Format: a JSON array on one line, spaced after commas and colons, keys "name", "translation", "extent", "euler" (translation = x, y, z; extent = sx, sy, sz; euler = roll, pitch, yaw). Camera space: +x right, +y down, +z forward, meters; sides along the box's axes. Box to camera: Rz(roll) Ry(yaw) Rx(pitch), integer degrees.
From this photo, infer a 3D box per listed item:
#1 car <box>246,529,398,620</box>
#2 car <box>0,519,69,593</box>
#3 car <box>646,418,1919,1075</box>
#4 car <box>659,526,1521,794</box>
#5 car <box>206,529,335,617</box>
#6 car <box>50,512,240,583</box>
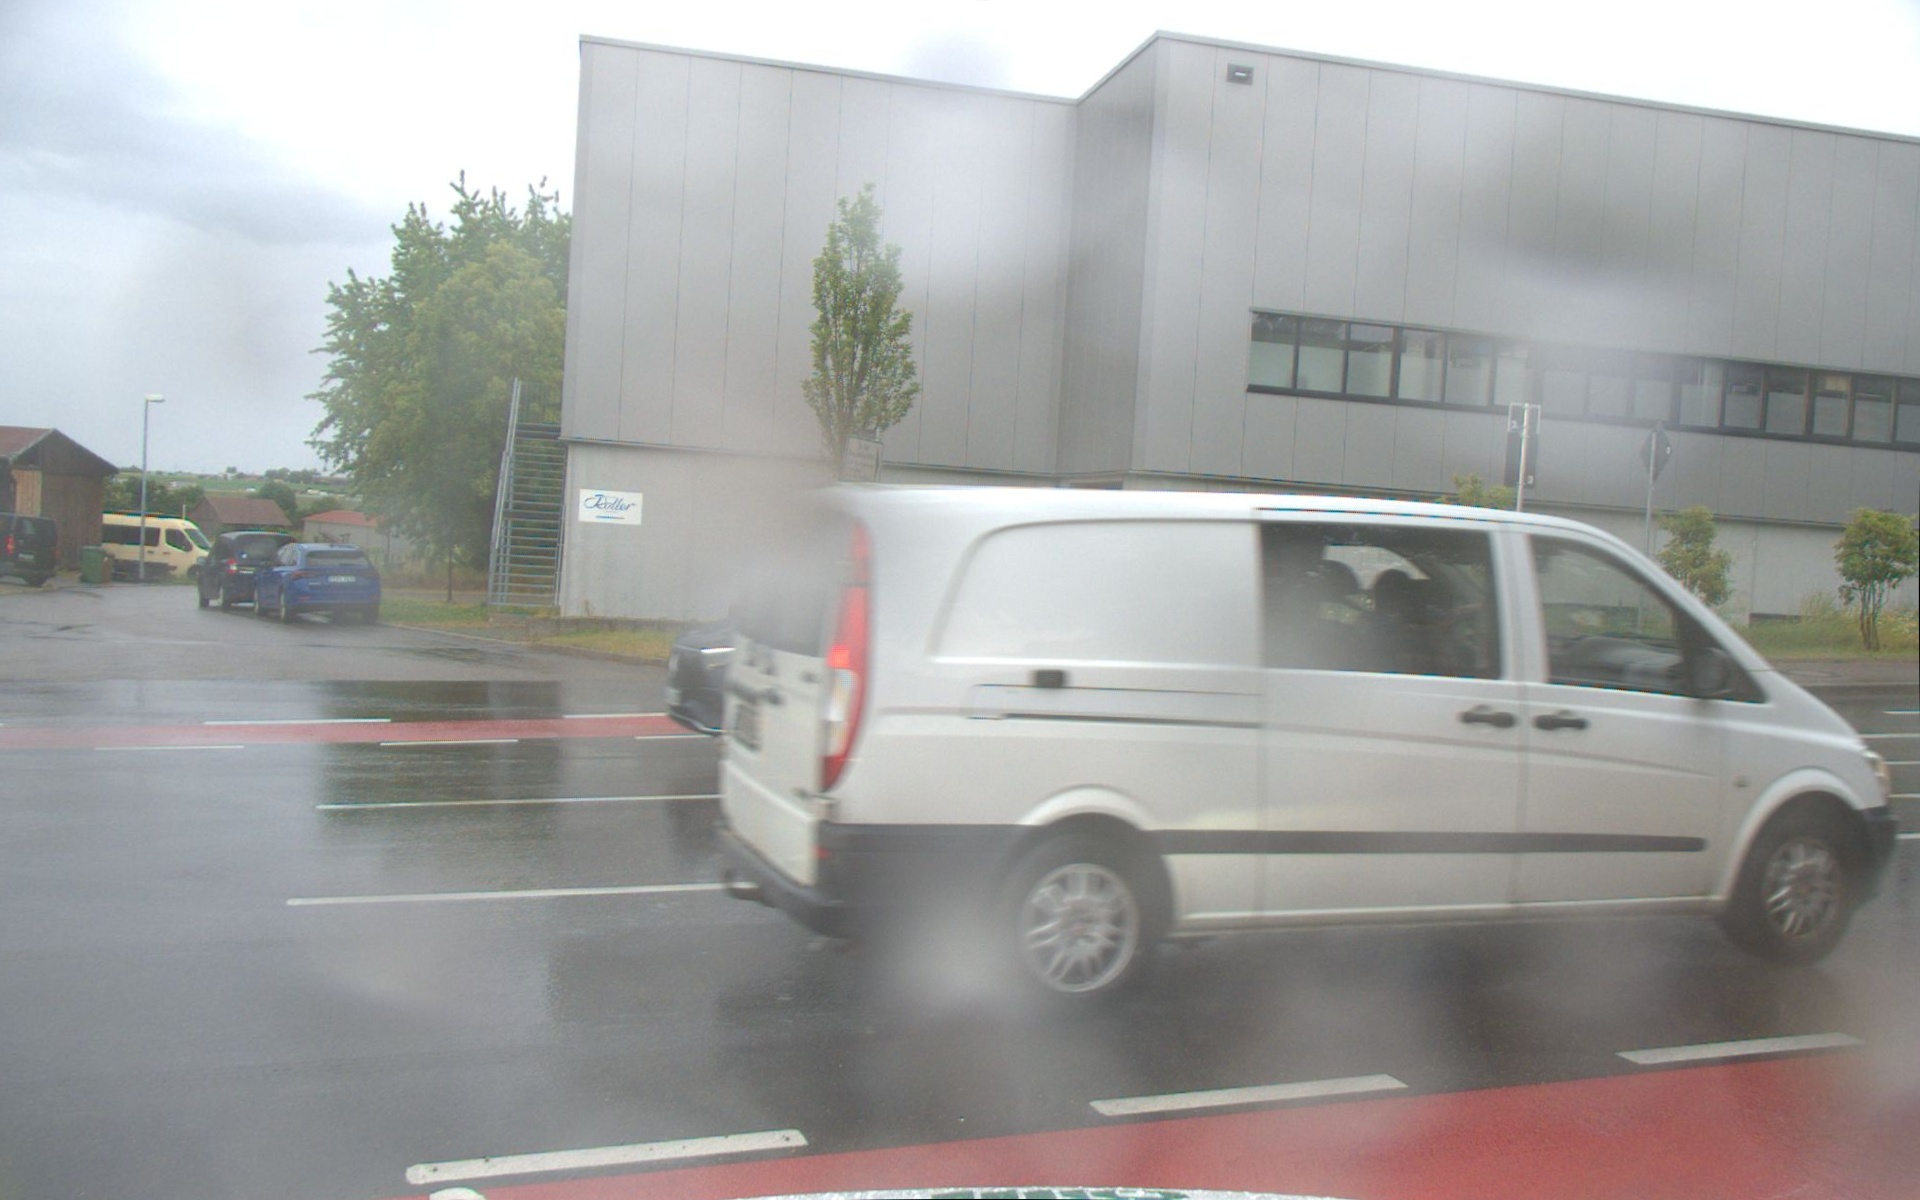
[{"name": "car", "translation": [-12.557, -0.501, 32.405], "extent": [1.933, 1.638, 4.397], "euler": [1, 1, -33]}, {"name": "car", "translation": [-26.763, -1.225, 44.675], "extent": [4.304, 1.938, 2.001], "euler": [1, 0, 2]}, {"name": "car", "translation": [1.487, 0.484, 7.011], "extent": [5.278, 2.053, 1.893], "euler": [1, 1, -21]}, {"name": "car", "translation": [1.097, 0.448, 13.676], "extent": [6.755, 1.847, 2.348], "euler": [1, 1, -21]}, {"name": "car", "translation": [-15.815, -0.620, 37.809], "extent": [2.054, 1.867, 4.423], "euler": [1, 1, -32]}, {"name": "car", "translation": [-30.679, -1.936, 62.431], "extent": [5.895, 2.457, 2.459], "euler": [1, 0, -7]}]
